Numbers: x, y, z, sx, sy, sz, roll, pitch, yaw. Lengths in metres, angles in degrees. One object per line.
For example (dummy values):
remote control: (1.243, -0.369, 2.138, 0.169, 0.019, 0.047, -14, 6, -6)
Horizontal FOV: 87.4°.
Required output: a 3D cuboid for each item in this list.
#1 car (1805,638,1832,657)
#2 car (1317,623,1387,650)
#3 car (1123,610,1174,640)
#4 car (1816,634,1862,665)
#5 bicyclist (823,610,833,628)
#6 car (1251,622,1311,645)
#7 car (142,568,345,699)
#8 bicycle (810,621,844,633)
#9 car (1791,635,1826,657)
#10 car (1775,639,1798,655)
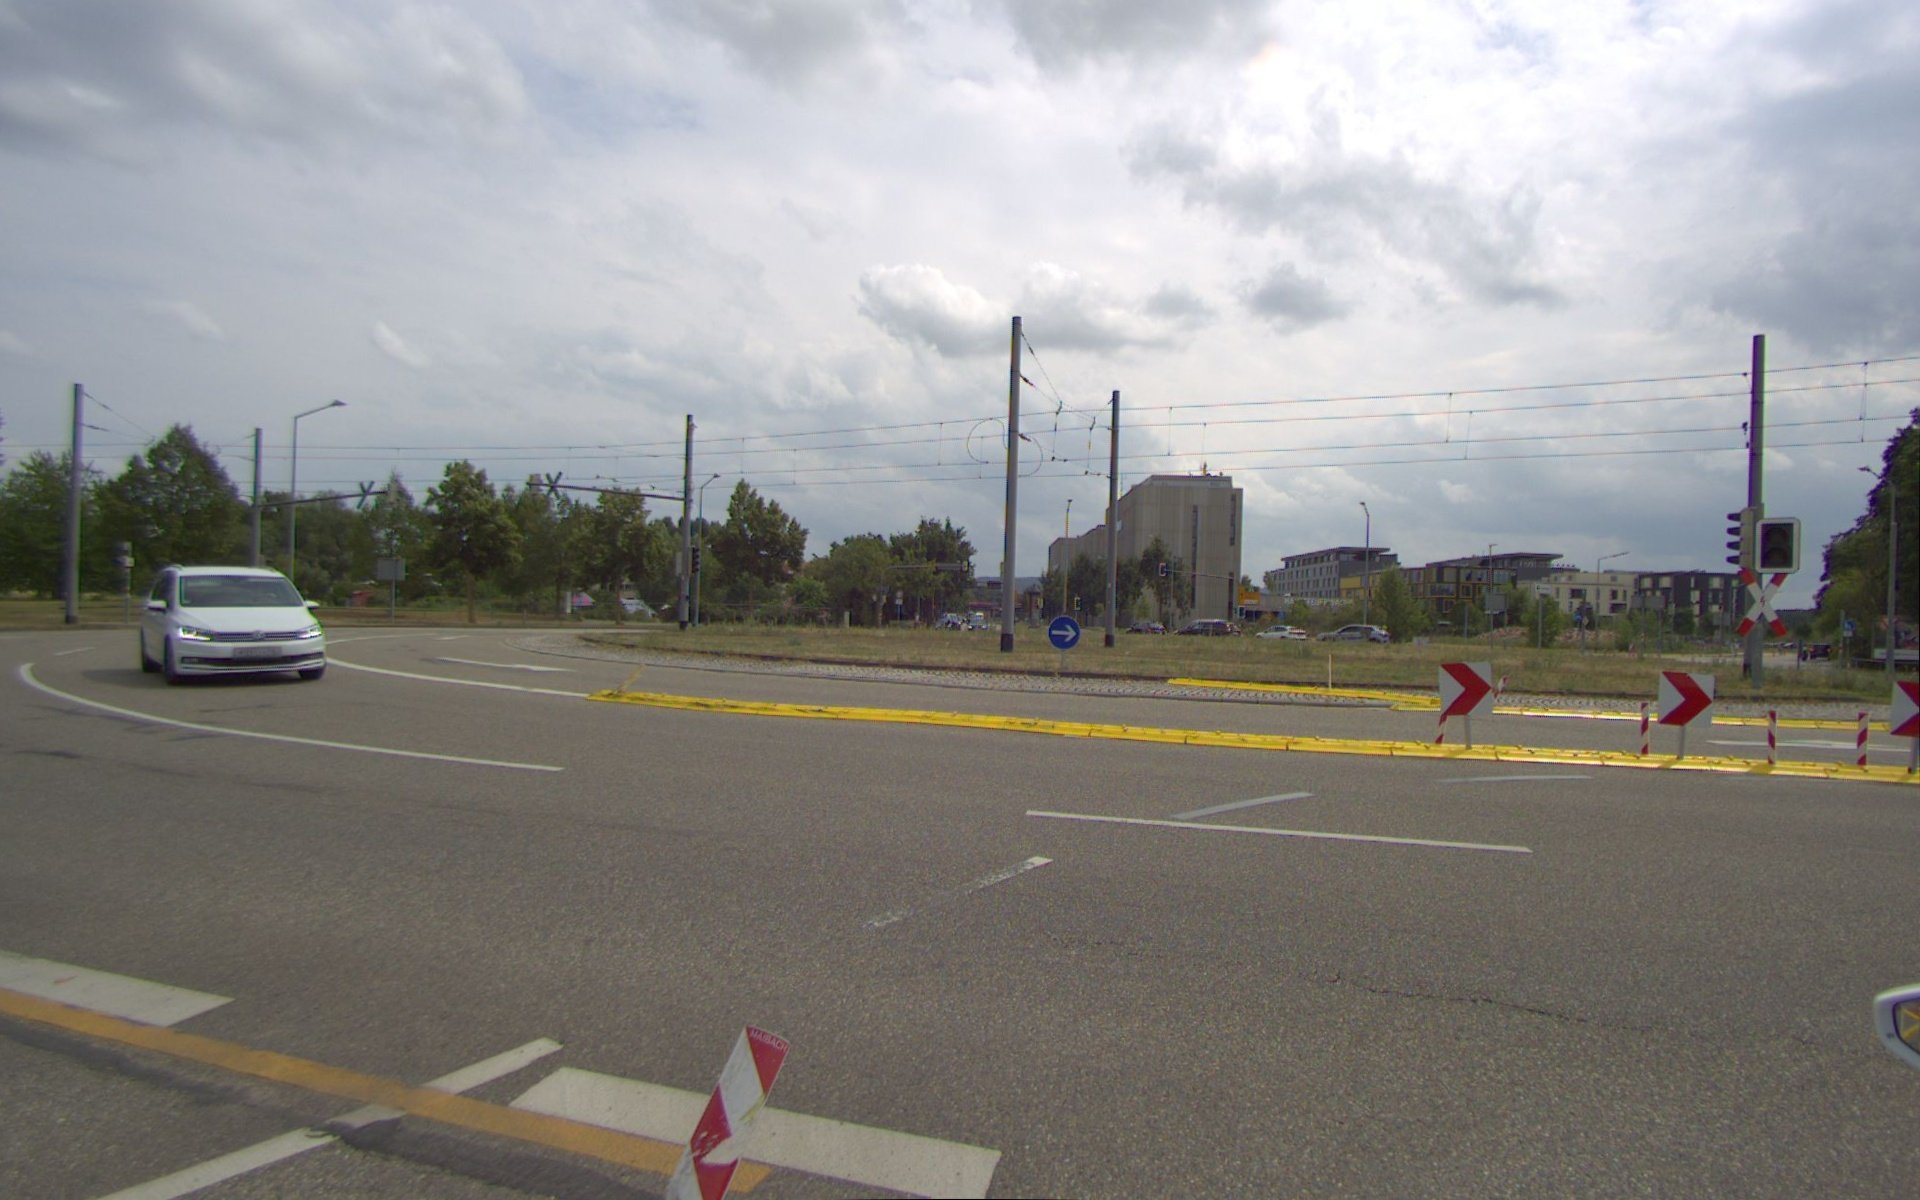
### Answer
car: (92.701, 5.097, 108.444, 1.973, 1.873, 3.976, 2, -2, 45)
car: (24.932, 2.317, 63.887, 3.927, 1.483, 1.831, 2, -1, 29)
car: (13.741, 1.812, 73.435, 1.968, 2.040, 3.986, 3, -1, -16)
car: (61.829, 3.484, 70.712, 1.967, 2.040, 3.988, 2, -2, 35)
bicyclist: (-10.622, 1.556, 80.830, 0.663, 1.428, 0.861, 2, -1, -17)
car: (23.415, 2.426, 73.403, 1.812, 1.483, 3.969, 4, -1, -29)
car: (-10.885, 0.456, 15.135, 1.925, 1.688, 4.299, 0, -1, -44)
bicycle: (-10.670, 2.186, 80.799, 2.616, 0.866, 0.861, 2, -1, -17)
car: (81.948, 4.430, 96.993, 3.971, 1.873, 1.976, 4, -2, -42)
car: (102.958, 5.835, 125.098, 1.972, 1.873, 3.977, 2, -2, 44)
